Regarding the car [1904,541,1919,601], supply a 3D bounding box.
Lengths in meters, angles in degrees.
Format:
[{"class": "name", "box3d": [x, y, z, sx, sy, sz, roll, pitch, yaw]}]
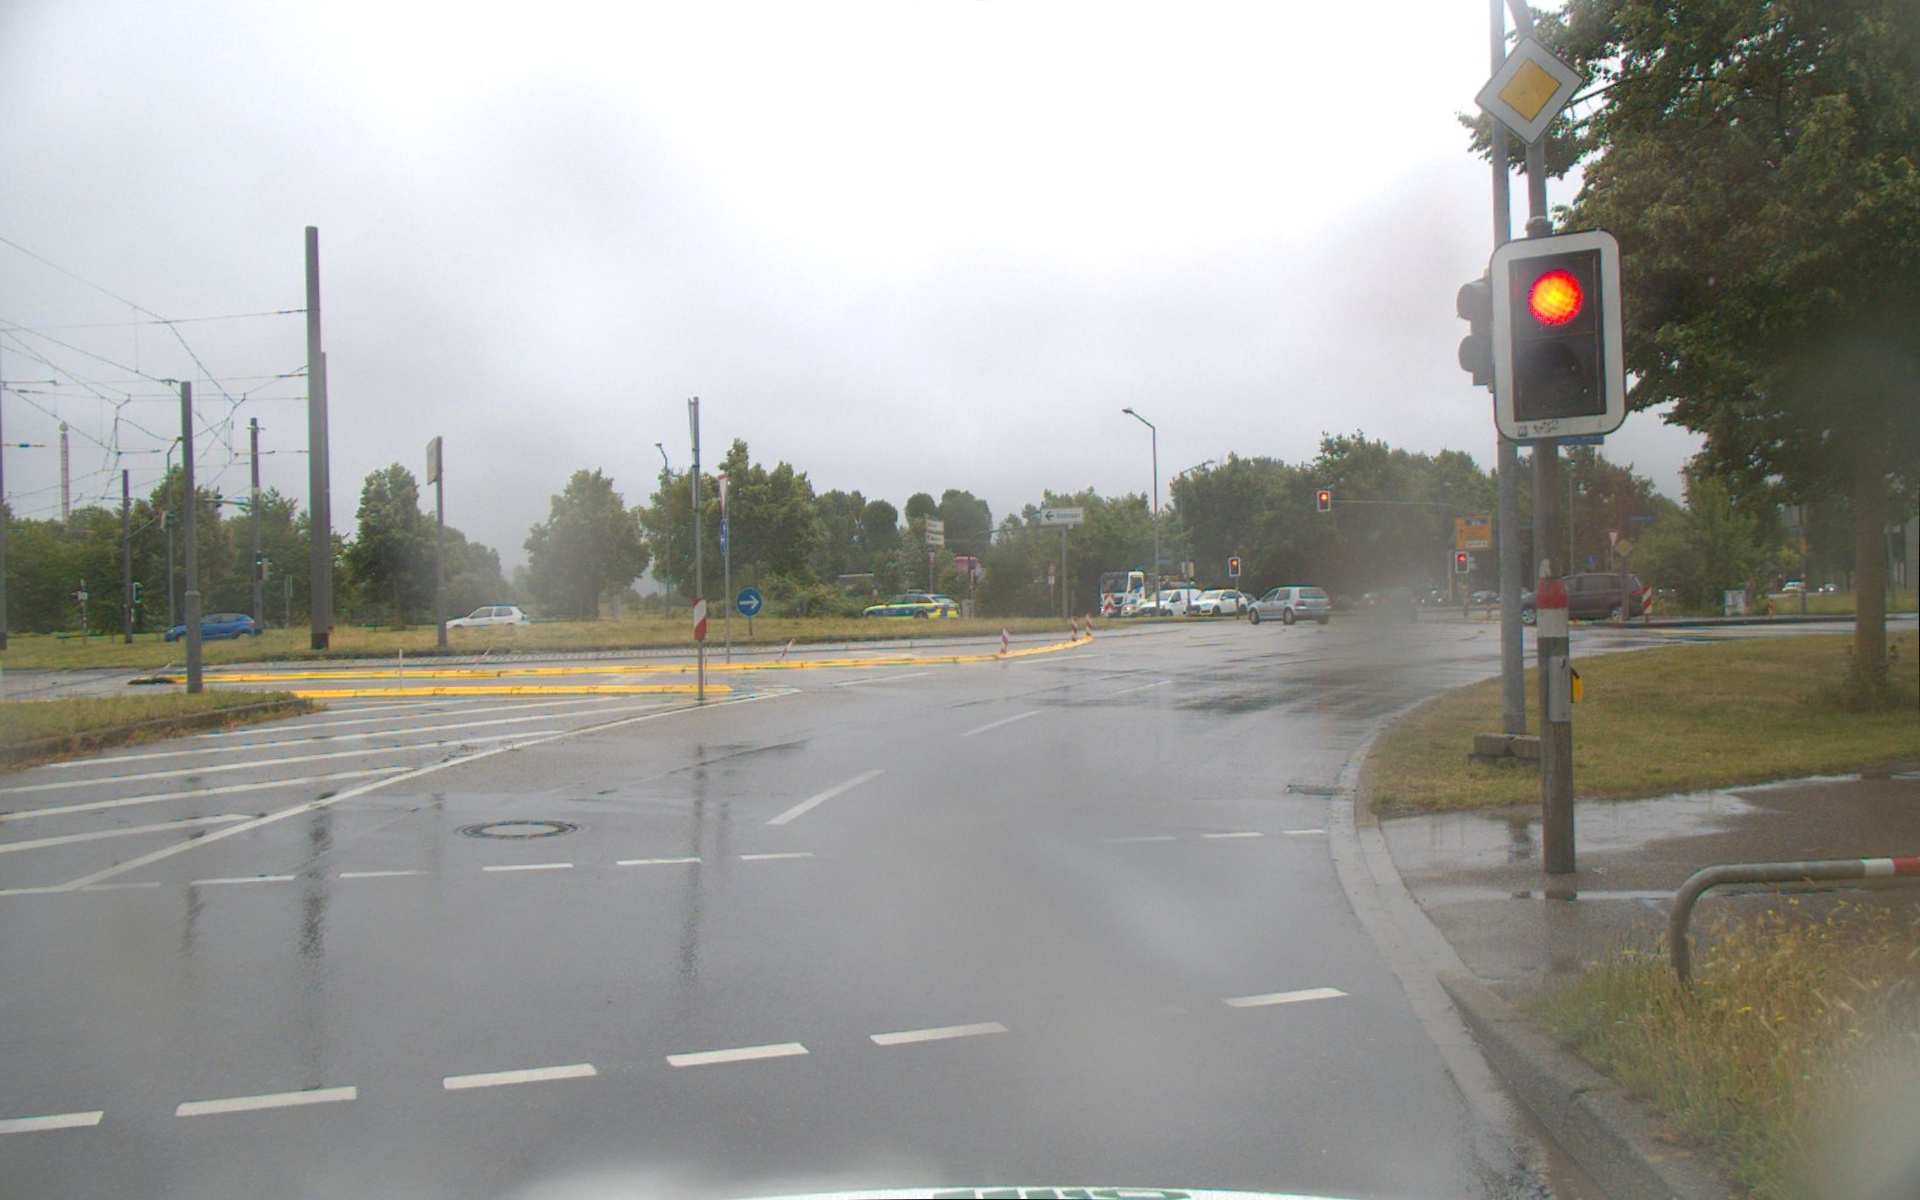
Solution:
[{"class": "car", "box3d": [32.957, -0.891, 52.633, 4.660, 1.884, 2.001, 1, -1, 4]}]

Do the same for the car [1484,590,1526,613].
[{"class": "car", "box3d": [42.945, 0.131, 130.319, 1.769, 1.691, 3.979, 0, -1, 40]}]

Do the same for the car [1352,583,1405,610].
[{"class": "car", "box3d": [28.265, -0.243, 111.659, 1.769, 1.691, 4.386, -1, 0, 40]}]

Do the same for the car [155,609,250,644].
[{"class": "car", "box3d": [-34.826, 1.202, 76.170, 3.922, 1.479, 1.611, -1, 0, -24]}]

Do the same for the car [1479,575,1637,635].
[{"class": "car", "box3d": [19.657, 0.151, 54.408, 4.669, 1.884, 1.997, 1, -1, 28]}]

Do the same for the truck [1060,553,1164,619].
[{"class": "truck", "box3d": [6.939, -0.555, 74.221, 2.411, 2.733, 8.058, 1, -1, 22]}]

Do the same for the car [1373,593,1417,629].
[{"class": "car", "box3d": [18.725, 0.470, 71.359, 1.583, 1.479, 3.991, -1, 0, 11]}]

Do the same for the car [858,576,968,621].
[{"class": "car", "box3d": [-2.099, -0.072, 72.585, 4.686, 1.883, 1.990, -1, 0, 40]}]

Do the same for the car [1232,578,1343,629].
[{"class": "car", "box3d": [12.678, 0.142, 64.349, 1.966, 1.884, 4.743, 1, -1, -22]}]

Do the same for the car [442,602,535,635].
[{"class": "car", "box3d": [-22.289, 0.861, 78.311, 3.894, 1.479, 1.623, -1, 0, -1]}]

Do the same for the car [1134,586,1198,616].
[{"class": "car", "box3d": [12.016, 0.069, 96.360, 1.769, 1.691, 4.112, 0, -1, 40]}]

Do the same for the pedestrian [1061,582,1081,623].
[{"class": "pedestrian", "box3d": [3.640, 0.083, 54.397, 0.445, 1.327, 0.484, -1, 0, 38]}]

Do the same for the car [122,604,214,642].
[{"class": "car", "box3d": [-40.327, 1.183, 84.300, 1.644, 1.848, 3.994, 1, -1, 28]}]

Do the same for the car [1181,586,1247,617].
[{"class": "car", "box3d": [14.585, 0.097, 94.814, 1.769, 1.691, 4.386, 0, -1, 40]}]
